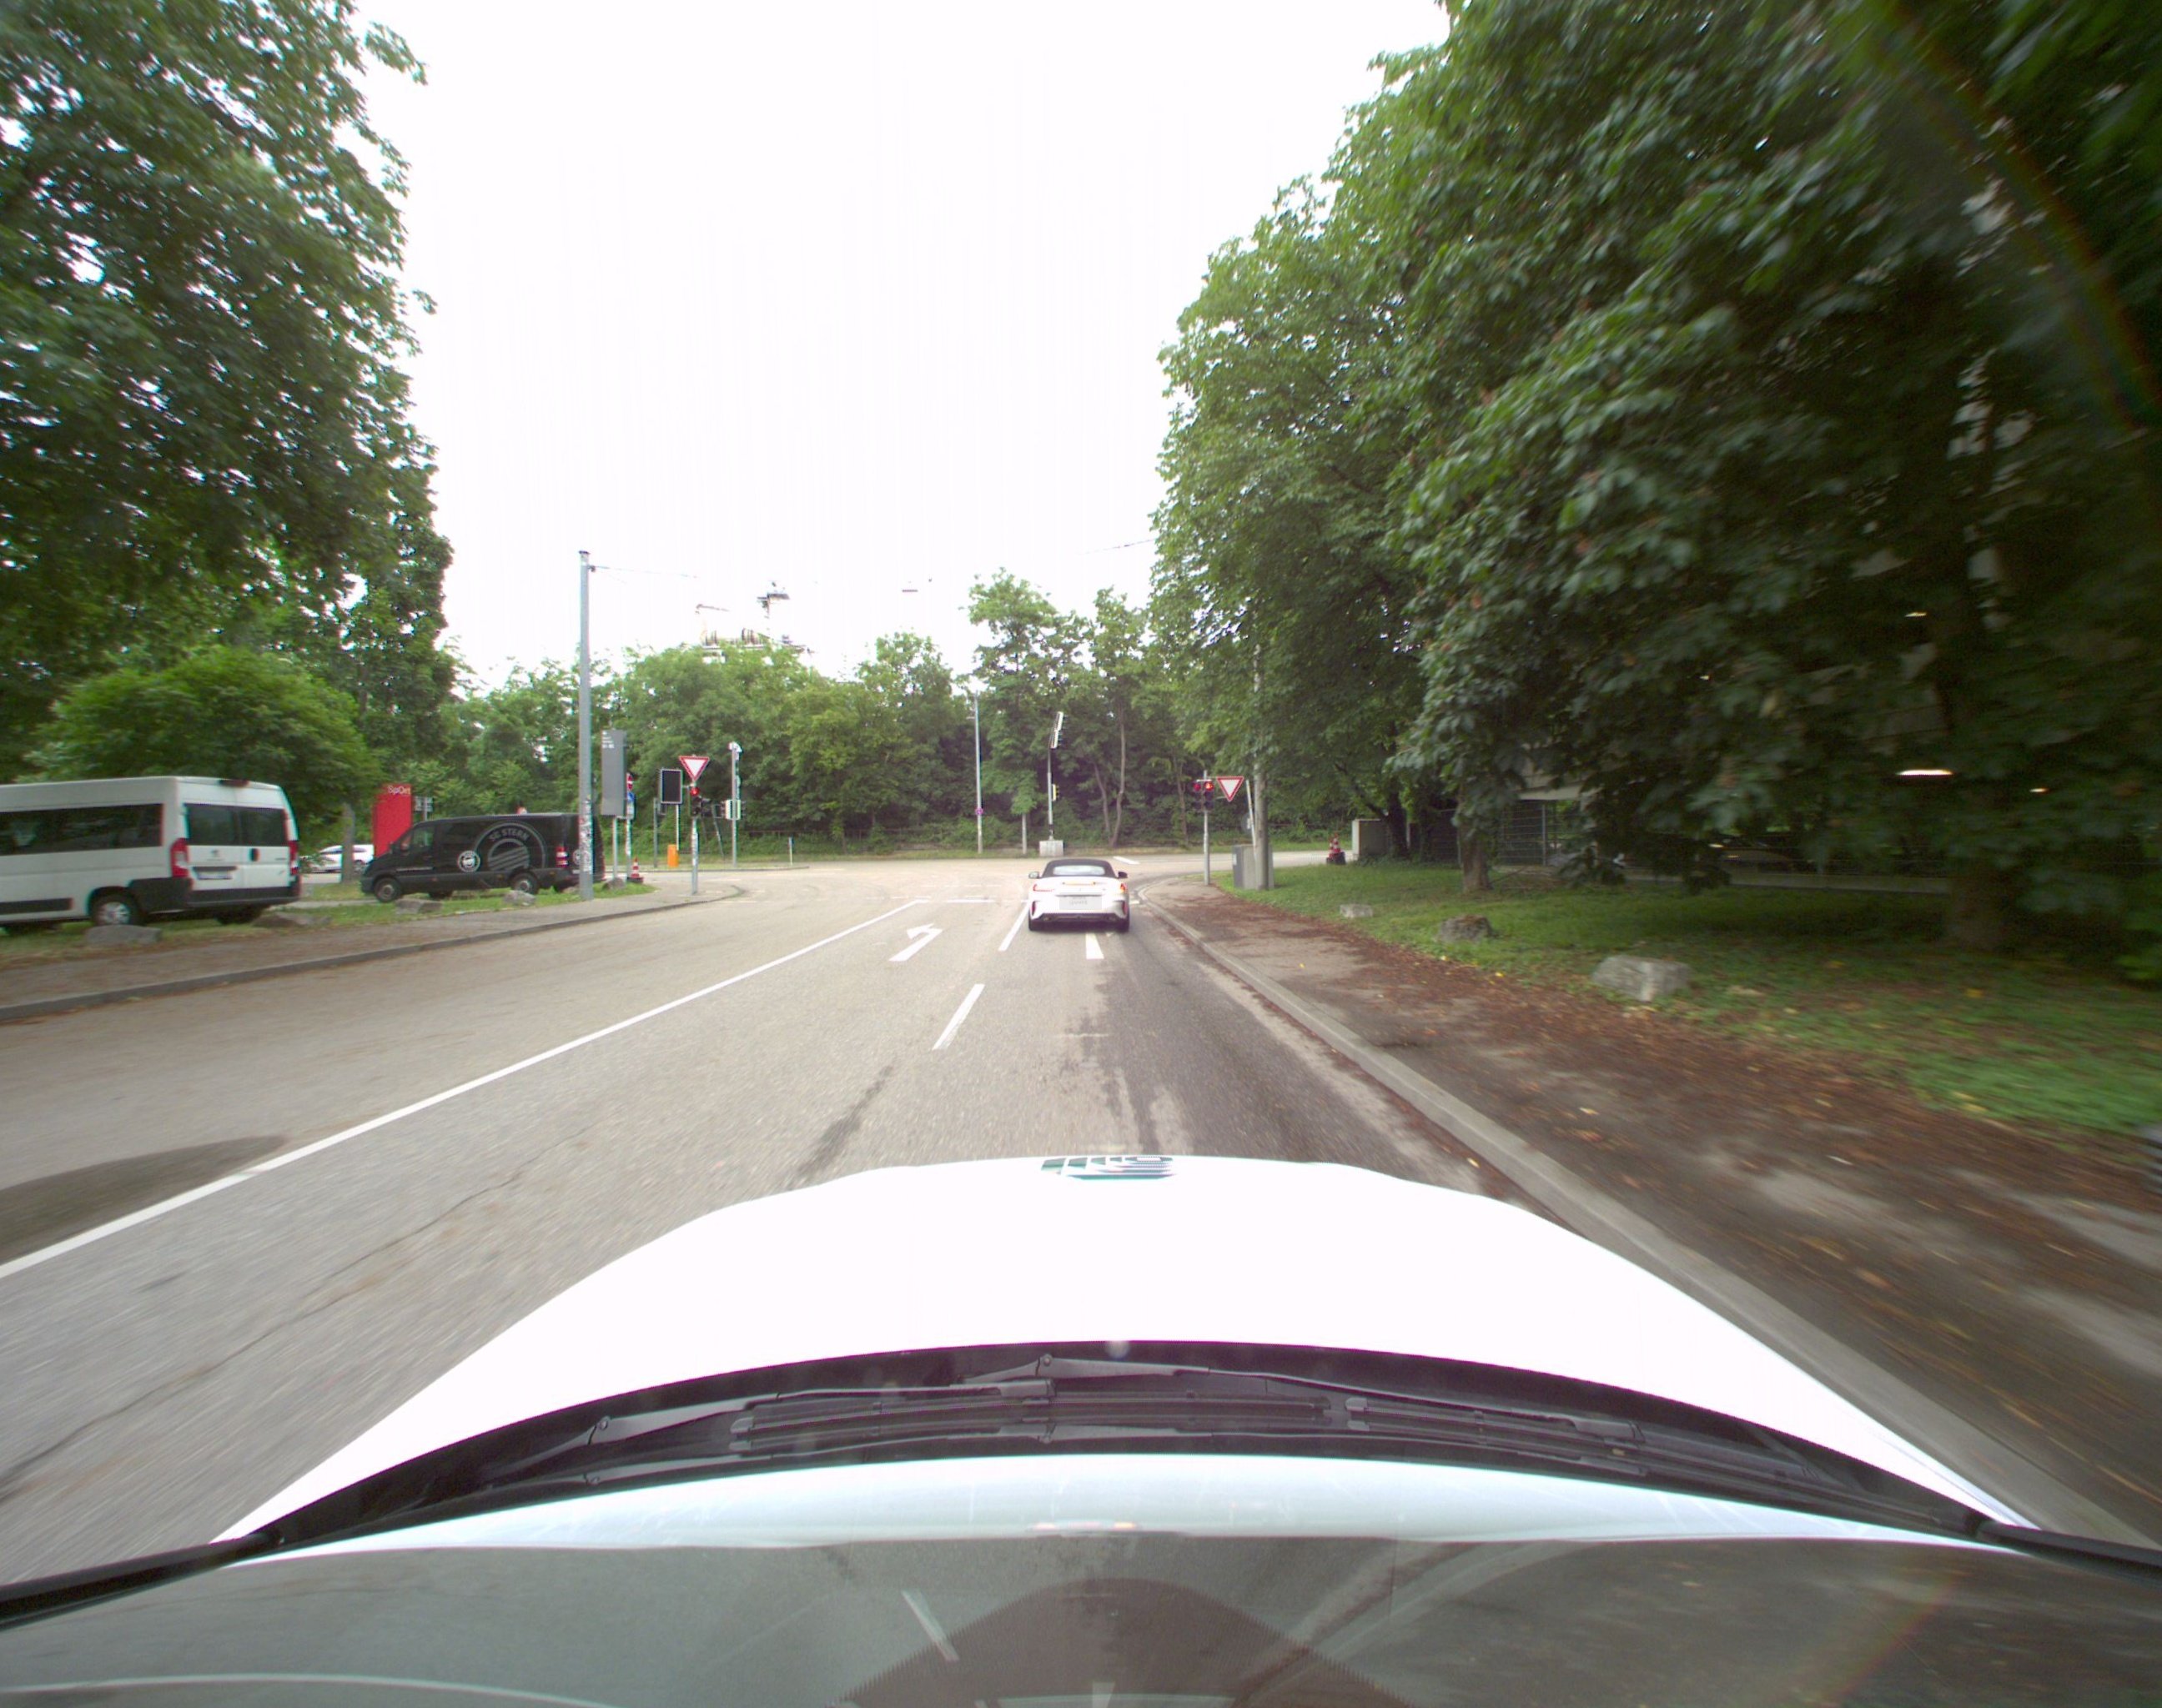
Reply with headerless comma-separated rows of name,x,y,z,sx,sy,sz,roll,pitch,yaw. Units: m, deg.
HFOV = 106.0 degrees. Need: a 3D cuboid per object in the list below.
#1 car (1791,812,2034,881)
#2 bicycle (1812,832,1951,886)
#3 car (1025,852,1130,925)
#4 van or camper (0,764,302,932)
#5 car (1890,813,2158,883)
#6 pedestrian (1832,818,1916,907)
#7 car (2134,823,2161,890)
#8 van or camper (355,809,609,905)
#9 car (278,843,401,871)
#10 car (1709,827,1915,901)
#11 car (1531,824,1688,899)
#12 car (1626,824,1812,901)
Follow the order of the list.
car,20.540,-0.127,20.403,1.988,1.552,3.998,0,-1,-1
bicycle,11.766,0.086,12.031,0.446,0.736,1.491,0,-1,-9
car,-0.144,0.649,16.129,1.823,1.257,3.995,0,-1,-3
van or camper,-16.503,-0.071,13.492,4.960,2.571,2.059,0,-2,-4
car,22.996,-0.088,20.145,1.988,1.552,3.998,0,-1,-1
pedestrian,12.042,0.134,12.385,0.639,1.317,0.636,0,-2,-2
car,30.402,0.066,20.420,1.913,1.834,4.735,0,0,0
van or camper,-16.694,0.094,22.899,5.517,2.314,2.061,-3,-2,0
car,-40.325,0.185,44.366,4.667,1.456,1.896,0,-1,-6
car,17.904,0.264,20.206,1.724,1.664,3.717,0,-1,-1
car,13.063,0.224,20.406,1.476,1.708,3.717,0,-1,-1
car,15.471,0.236,20.017,1.575,1.708,3.767,0,-1,-1
